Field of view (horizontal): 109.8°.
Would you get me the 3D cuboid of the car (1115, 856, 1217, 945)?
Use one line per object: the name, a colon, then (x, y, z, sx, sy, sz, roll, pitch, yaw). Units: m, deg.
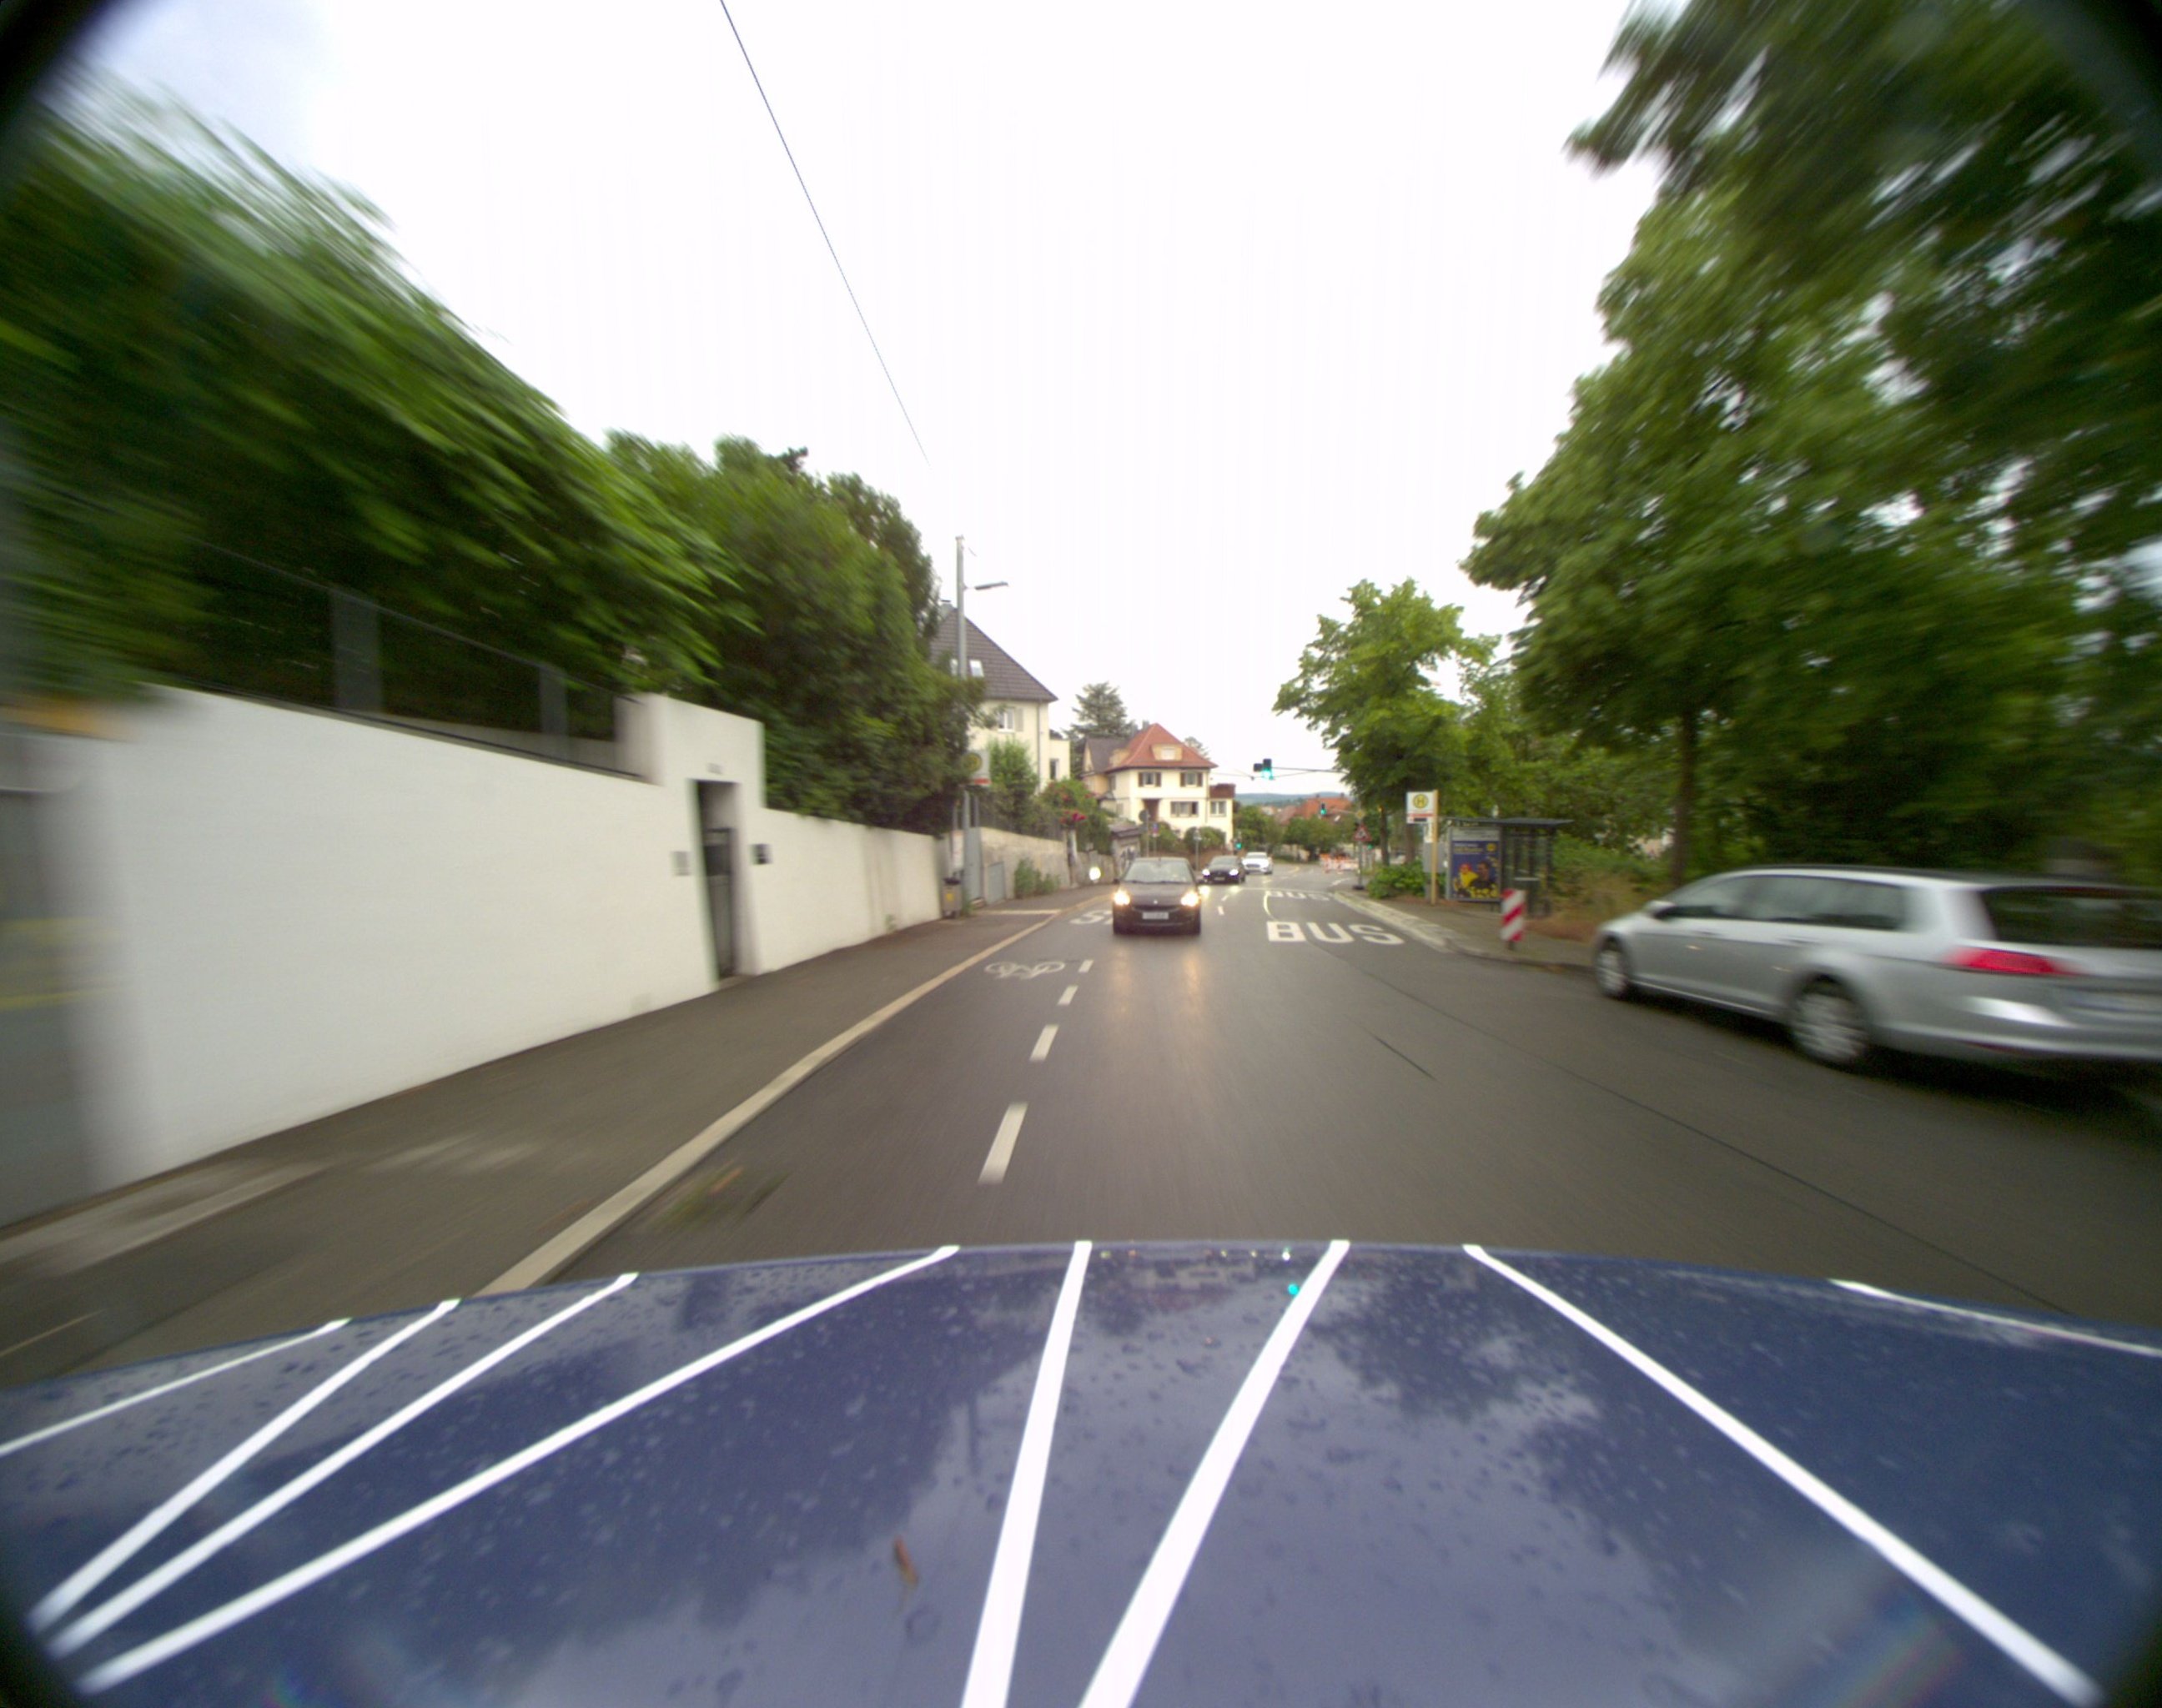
car: (1.730, 0.832, 15.817, 1.803, 1.419, 4.383, 1, 2, 5)

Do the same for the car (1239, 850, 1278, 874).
car: (12.945, 0.550, 55.342, 2.027, 1.619, 4.235, -1, 0, 23)

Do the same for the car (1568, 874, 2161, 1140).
car: (6.190, 0.919, 6.412, 1.658, 1.421, 4.377, 1, -1, 5)

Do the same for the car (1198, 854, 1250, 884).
car: (7.669, 0.791, 40.548, 2.027, 1.454, 4.006, -1, 0, 21)

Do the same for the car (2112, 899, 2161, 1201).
car: (5.748, 0.957, 1.360, 1.687, 1.372, 4.501, 2, 1, 2)
